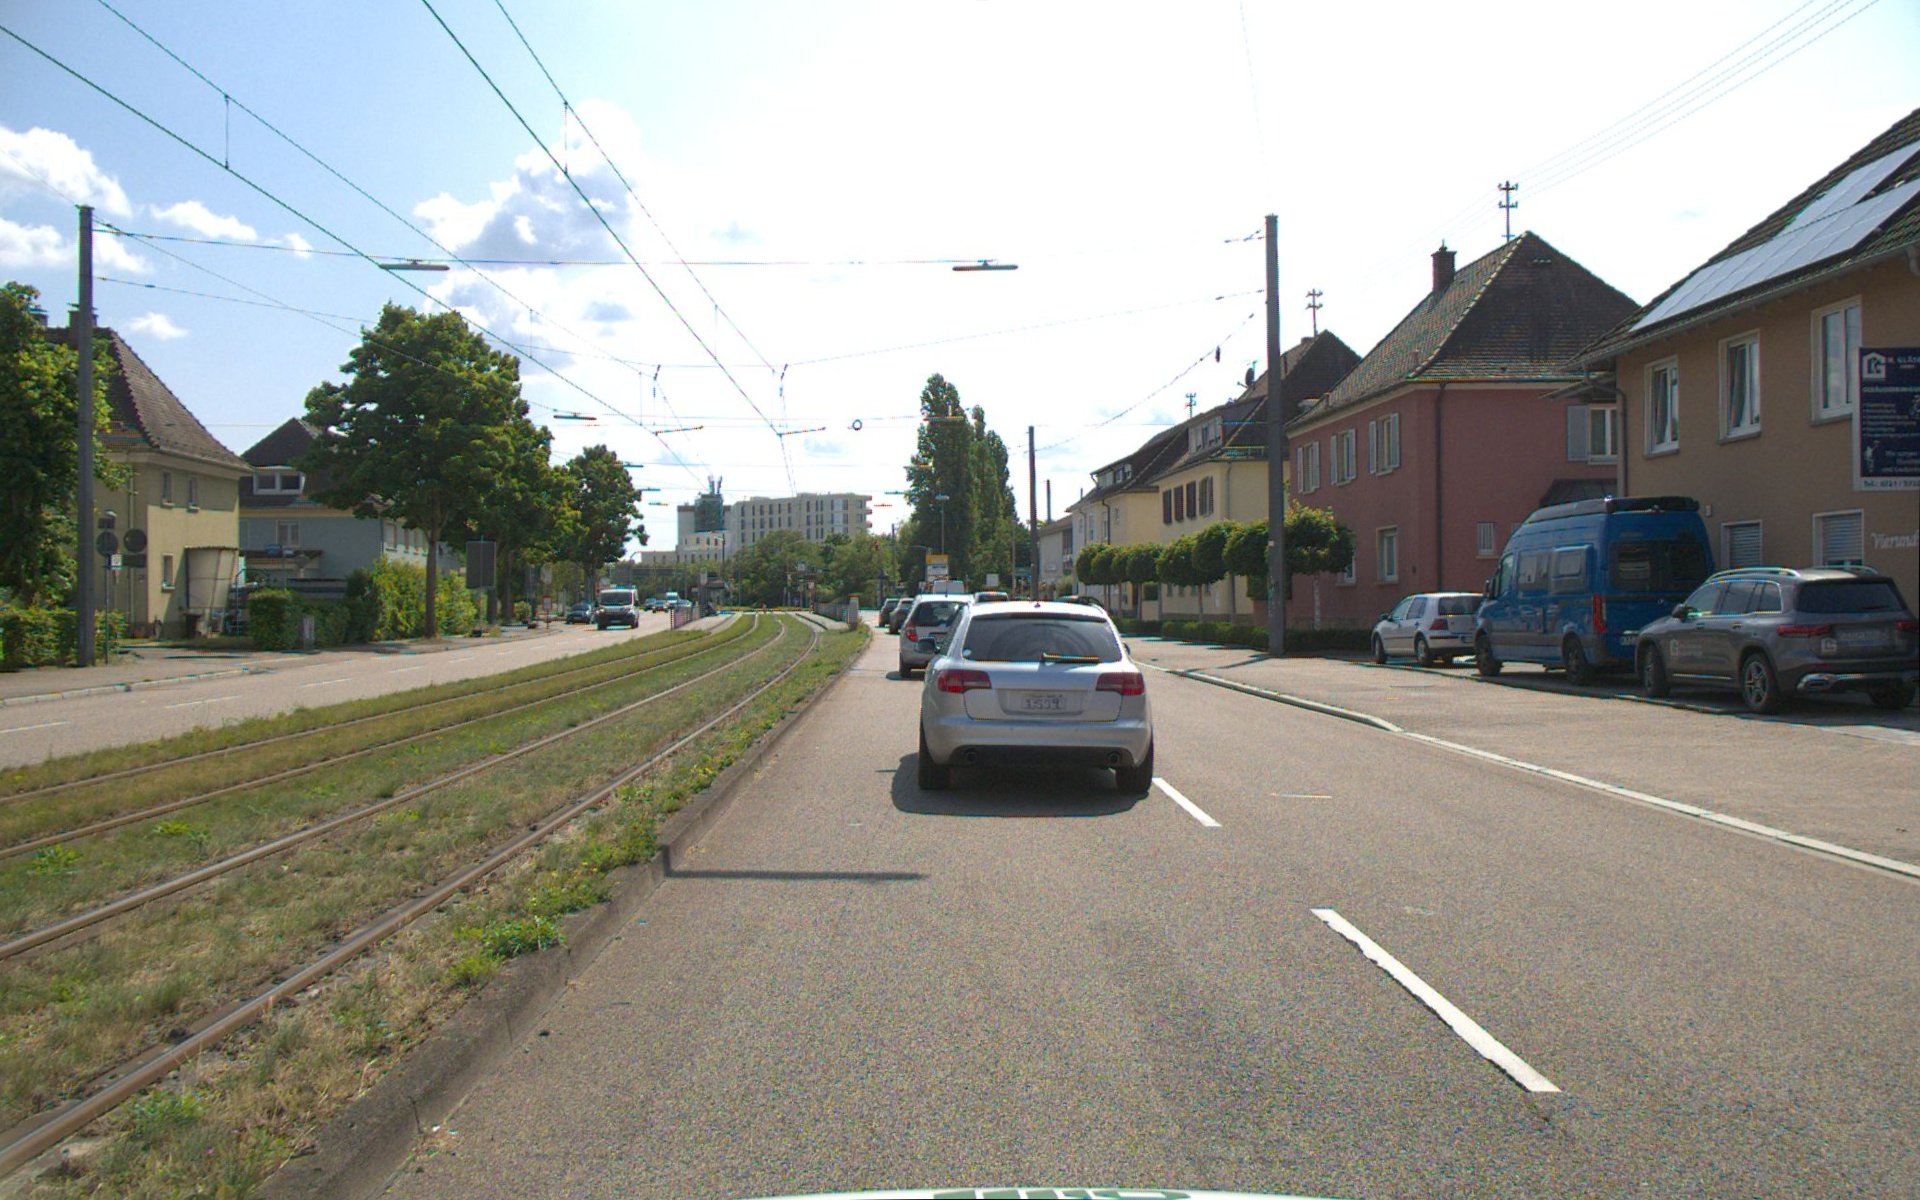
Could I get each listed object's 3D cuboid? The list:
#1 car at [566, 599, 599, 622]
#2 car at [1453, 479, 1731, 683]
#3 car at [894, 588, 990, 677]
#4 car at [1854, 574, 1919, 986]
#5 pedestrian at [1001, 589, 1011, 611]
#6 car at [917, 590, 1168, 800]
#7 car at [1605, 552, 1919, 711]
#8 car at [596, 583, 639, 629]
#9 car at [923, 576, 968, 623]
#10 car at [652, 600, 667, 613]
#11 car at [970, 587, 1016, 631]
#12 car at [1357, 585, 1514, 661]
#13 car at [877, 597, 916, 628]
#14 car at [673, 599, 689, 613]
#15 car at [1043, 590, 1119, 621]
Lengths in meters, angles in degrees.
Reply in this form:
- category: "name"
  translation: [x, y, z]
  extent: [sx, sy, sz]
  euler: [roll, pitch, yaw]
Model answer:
- category: "car"
  translation: [-26.961, 0.726, 118.210]
  extent: [1.751, 1.612, 3.926]
  euler: [0, 0, -5]
- category: "car"
  translation: [10.260, -0.259, 27.531]
  extent: [2.108, 2.981, 6.242]
  euler: [1, 0, -1]
- category: "car"
  translation: [-0.372, 0.603, 33.032]
  extent: [1.751, 1.604, 4.093]
  euler: [2, 0, -1]
- category: "car"
  translation: [4.669, 0.695, 4.734]
  extent: [1.771, 1.587, 4.251]
  euler: [1, 0, -3]
- category: "pedestrian"
  translation: [3.831, 0.013, 137.403]
  extent: [0.707, 1.814, 0.702]
  euler: [-3, 0, -5]
- category: "car"
  translation: [0.647, 0.686, 14.279]
  extent: [1.816, 1.518, 4.536]
  euler: [0, 0, 1]
- category: "car"
  translation: [10.245, 0.338, 21.278]
  extent: [1.799, 1.741, 4.862]
  euler: [-2, 0, -2]
- category: "car"
  translation: [-19.101, 0.343, 92.376]
  extent: [2.156, 2.413, 5.319]
  euler: [-2, 0, -10]
- category: "car"
  translation: [-0.868, -0.022, 94.731]
  extent: [2.002, 2.602, 5.223]
  euler: [0, 0, -7]
- category: "car"
  translation: [-37.460, 0.809, 206.343]
  extent: [1.829, 1.680, 3.989]
  euler: [1, 0, -11]
- category: "car"
  translation: [1.430, 0.368, 70.381]
  extent: [1.846, 1.761, 4.096]
  euler: [-1, 0, 2]
- category: "car"
  translation: [9.788, 0.460, 34.411]
  extent: [1.617, 1.434, 4.345]
  euler: [-1, 0, -6]
- category: "car"
  translation: [-3.251, 0.648, 84.908]
  extent: [1.846, 1.557, 4.094]
  euler: [1, 0, 0]
- category: "car"
  translation: [-32.987, 0.733, 195.628]
  extent: [1.862, 1.568, 3.720]
  euler: [1, 0, -10]
- category: "car"
  translation: [6.372, 0.278, 86.989]
  extent: [1.883, 1.483, 4.067]
  euler: [0, 2, 43]
